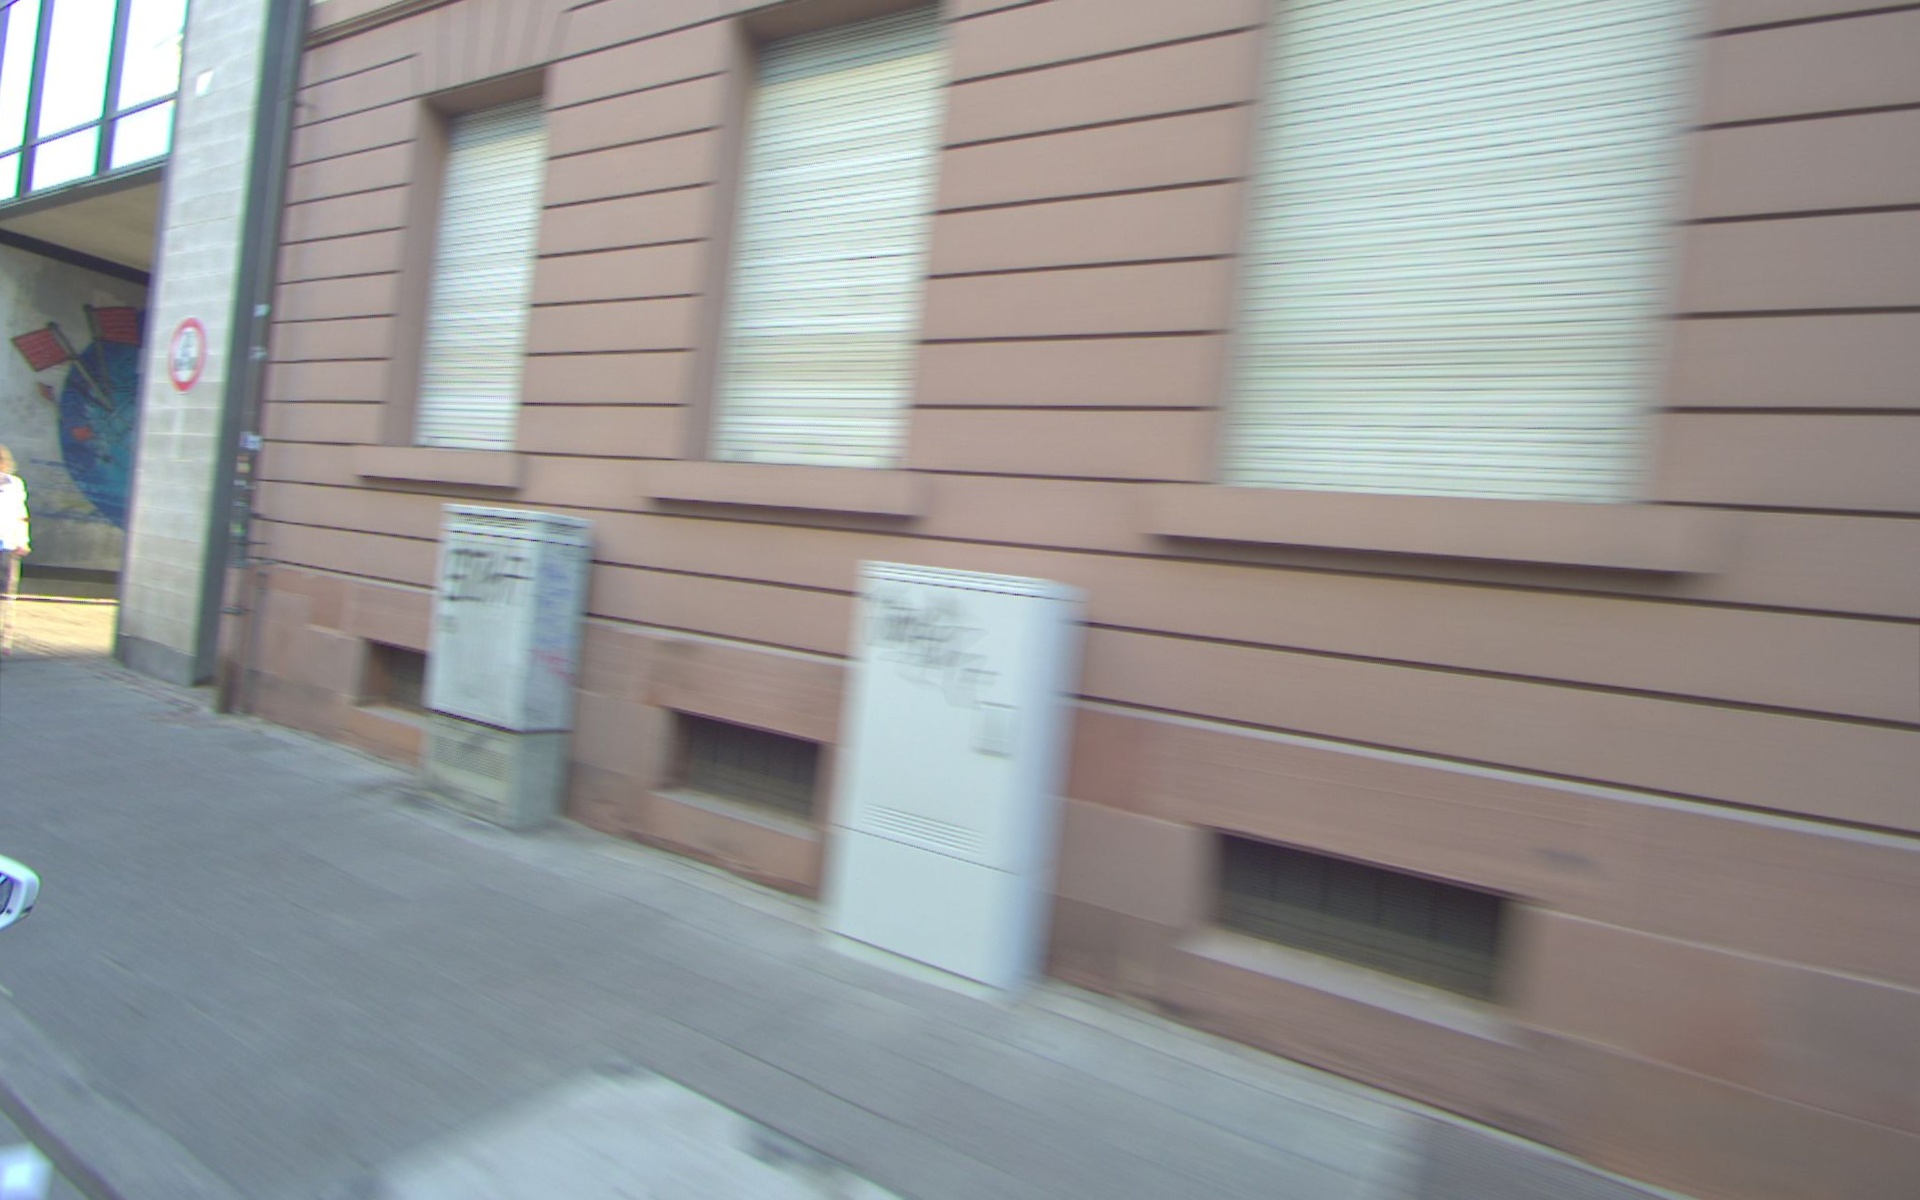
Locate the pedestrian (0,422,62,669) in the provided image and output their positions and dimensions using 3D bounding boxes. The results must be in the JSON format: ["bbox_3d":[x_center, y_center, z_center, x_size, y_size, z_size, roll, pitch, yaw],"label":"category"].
[{"bbox_3d":[-7.502,-0.438,7.591,0.883,1.827,0.844,7,3,35],"label":"pedestrian"}]
